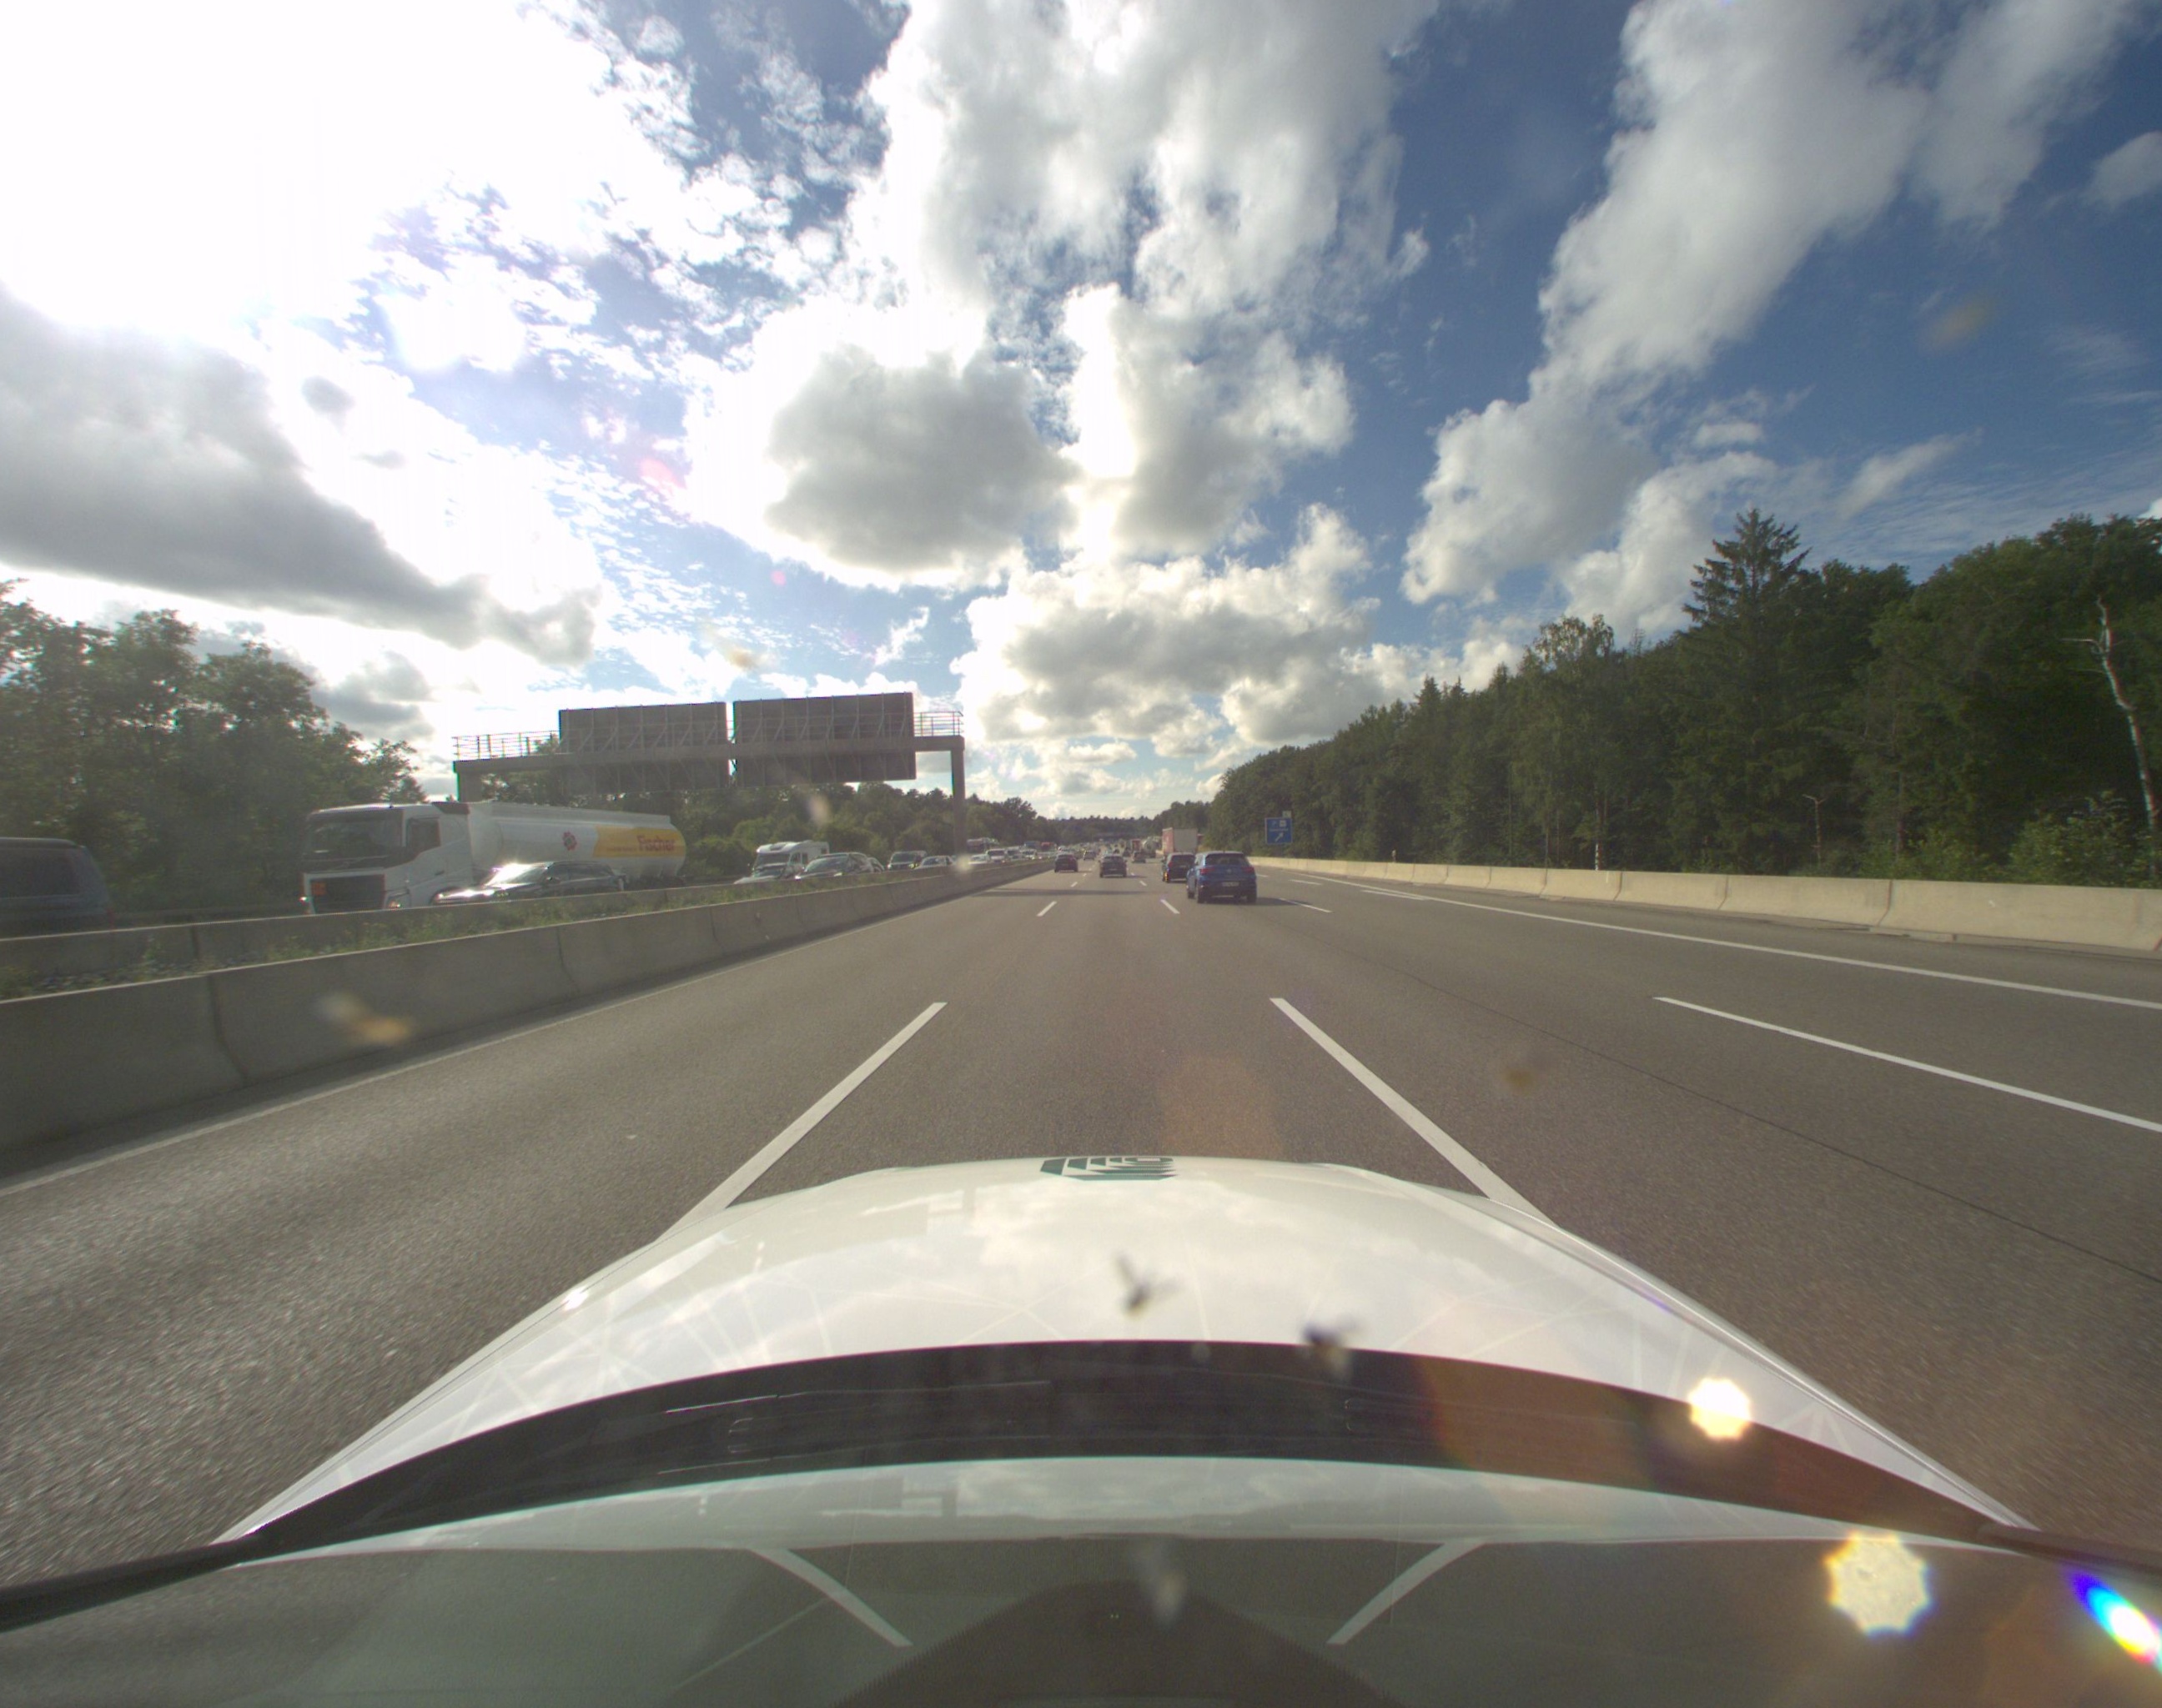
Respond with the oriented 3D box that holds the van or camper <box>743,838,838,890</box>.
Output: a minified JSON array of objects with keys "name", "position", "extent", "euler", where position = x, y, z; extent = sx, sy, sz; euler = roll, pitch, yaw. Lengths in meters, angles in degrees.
[{"name":"van or camper","position":[-15.902,0.549,45.181],"extent":[2.316,2.643,7.400],"euler":[-1,-1,2]}]

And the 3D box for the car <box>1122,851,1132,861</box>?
[{"name":"car","position":[9.743,0.435,174.070],"extent":[1.986,2.013,4.001],"euler":[0,0,2]}]

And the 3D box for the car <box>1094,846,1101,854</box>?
[{"name":"car","position":[4.390,-1.112,217.823],"extent":[1.986,2.013,4.002],"euler":[0,0,2]}]

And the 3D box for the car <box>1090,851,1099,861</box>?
[{"name":"car","position":[2.966,0.419,177.711],"extent":[1.986,2.014,4.001],"euler":[-1,-1,2]}]

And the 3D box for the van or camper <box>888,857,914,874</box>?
[{"name":"van or camper","position":[-22.107,1.404,100.150],"extent":[1.852,2.033,5.078],"euler":[-1,-1,2]}]

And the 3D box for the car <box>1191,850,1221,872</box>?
[{"name":"car","position":[9.091,0.493,59.466],"extent":[1.708,1.511,4.305],"euler":[-2,0,2]}]

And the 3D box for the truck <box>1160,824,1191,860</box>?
[{"name":"truck","position":[10.927,-1.318,94.630],"extent":[3.069,4.063,6.071],"euler":[-1,-1,2]}]

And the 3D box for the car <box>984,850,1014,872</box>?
[{"name":"car","position":[-7.044,0.561,70.440],"extent":[2.079,1.801,4.181],"euler":[-1,0,2]}]

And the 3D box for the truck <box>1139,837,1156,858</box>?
[{"name":"truck","position":[13.443,-1.235,165.925],"extent":[3.034,4.160,7.130],"euler":[-1,0,2]}]

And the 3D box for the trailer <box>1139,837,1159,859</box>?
[{"name":"trailer","position":[13.273,-1.107,160.262],"extent":[3.025,4.016,12.248],"euler":[-1,0,1]}]

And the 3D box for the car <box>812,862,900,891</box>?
[{"name":"car","position":[-8.383,0.812,30.876],"extent":[1.661,0.927,5.465],"euler":[-1,0,2]}]

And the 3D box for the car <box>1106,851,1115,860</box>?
[{"name":"car","position":[6.763,0.290,188.312],"extent":[1.986,2.014,4.001],"euler":[-2,-1,2]}]

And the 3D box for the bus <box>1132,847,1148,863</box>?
[{"name":"bus","position":[7.824,0.120,107.760],"extent":[1.986,2.014,4.002],"euler":[-1,-1,2]}]

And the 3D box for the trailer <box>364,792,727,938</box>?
[{"name":"trailer","position":[-17.040,0.273,28.152],"extent":[3.399,3.828,13.266],"euler":[-1,0,2]}]

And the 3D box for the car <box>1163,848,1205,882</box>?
[{"name":"car","position":[5.244,0.550,41.800],"extent":[1.792,1.644,4.002],"euler":[0,0,2]}]

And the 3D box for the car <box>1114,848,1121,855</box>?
[{"name":"car","position":[11.113,-0.806,245.901],"extent":[1.986,2.013,4.002],"euler":[0,0,2]}]

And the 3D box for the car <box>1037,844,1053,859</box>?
[{"name":"car","position":[-5.423,-0.348,123.198],"extent":[1.986,2.014,4.412],"euler":[-2,-1,2]}]

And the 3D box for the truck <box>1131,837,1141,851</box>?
[{"name":"truck","position":[14.756,-2.700,219.243],"extent":[2.348,3.572,11.275],"euler":[-1,-1,3]}]

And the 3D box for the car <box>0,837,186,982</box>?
[{"name":"car","position":[-13.363,0.635,8.813],"extent":[2.000,1.655,4.784],"euler":[0,0,1]}]

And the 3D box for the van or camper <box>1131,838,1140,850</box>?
[{"name":"van or camper","position":[15.159,-2.702,226.466],"extent":[2.342,3.144,5.715],"euler":[-1,-1,3]}]

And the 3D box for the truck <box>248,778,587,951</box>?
[{"name":"truck","position":[-17.185,0.242,21.961],"extent":[3.404,3.900,6.804],"euler":[-1,0,2]}]

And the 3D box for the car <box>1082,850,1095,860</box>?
[{"name":"car","position":[1.383,0.179,141.526],"extent":[2.146,1.776,4.002],"euler":[0,0,2]}]

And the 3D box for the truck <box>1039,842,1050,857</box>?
[{"name":"truck","position":[-10.207,-1.293,229.093],"extent":[2.766,3.938,6.854],"euler":[-1,1,1]}]

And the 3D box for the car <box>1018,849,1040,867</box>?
[{"name":"car","position":[-6.258,0.537,98.648],"extent":[1.986,2.100,5.281],"euler":[-1,-1,2]}]

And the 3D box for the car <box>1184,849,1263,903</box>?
[{"name":"car","position":[4.405,0.646,25.776],"extent":[1.916,1.541,4.649],"euler":[0,0,3]}]

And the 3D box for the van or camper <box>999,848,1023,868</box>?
[{"name":"van or camper","position":[-9.761,0.618,114.018],"extent":[2.381,2.711,6.635],"euler":[-1,-1,2]}]

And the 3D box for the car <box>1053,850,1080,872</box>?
[{"name":"car","position":[-1.149,0.545,68.052],"extent":[1.986,1.776,4.002],"euler":[-1,0,2]}]

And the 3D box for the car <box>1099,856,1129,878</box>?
[{"name":"car","position":[2.106,0.794,52.810],"extent":[1.728,1.365,3.999],"euler":[0,0,0]}]

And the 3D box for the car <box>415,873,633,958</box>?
[{"name":"car","position":[-12.807,1.328,19.170],"extent":[1.793,1.632,4.664],"euler":[-1,0,2]}]

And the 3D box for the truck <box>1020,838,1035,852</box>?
[{"name":"truck","position":[-10.915,-1.913,167.279],"extent":[2.319,2.801,7.952],"euler":[0,0,1]}]

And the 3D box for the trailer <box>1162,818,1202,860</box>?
[{"name":"trailer","position":[10.710,-1.442,87.810],"extent":[3.027,4.035,13.894],"euler":[-1,-1,2]}]

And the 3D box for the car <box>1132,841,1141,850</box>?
[{"name":"car","position":[13.303,-1.939,193.820],"extent":[1.986,2.014,4.001],"euler":[-1,-1,2]}]

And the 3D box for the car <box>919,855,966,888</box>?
[{"name":"car","position":[-8.236,1.000,48.850],"extent":[1.760,1.798,4.940],"euler":[-1,0,2]}]

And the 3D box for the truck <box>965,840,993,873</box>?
[{"name":"truck","position":[-13.634,0.337,109.001],"extent":[2.842,4.234,5.715],"euler":[0,0,2]}]
